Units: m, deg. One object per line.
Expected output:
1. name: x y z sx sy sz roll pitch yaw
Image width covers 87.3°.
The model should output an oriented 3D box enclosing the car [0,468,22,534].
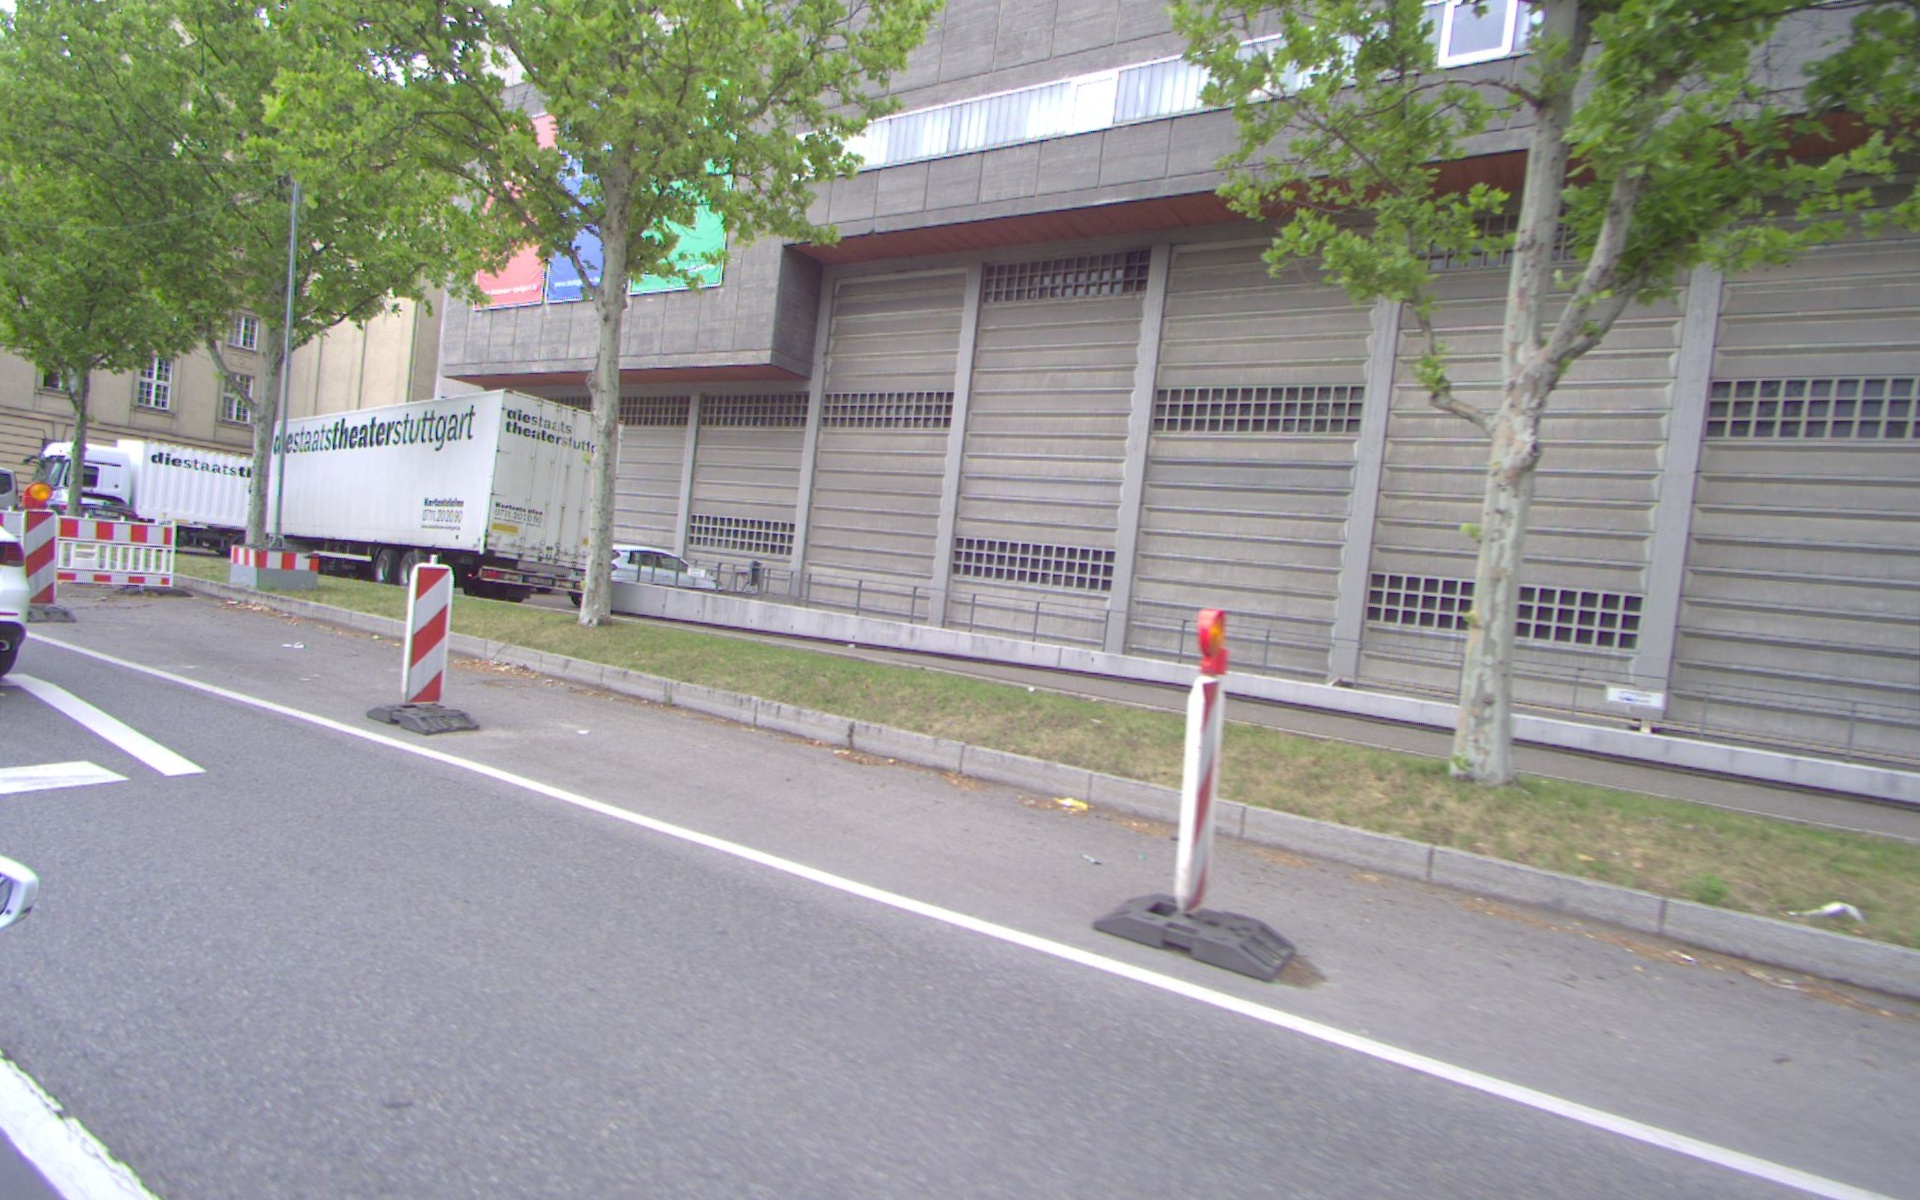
1. car: -25.850 -2.680 25.635 4.260 1.587 1.752 6 0 32

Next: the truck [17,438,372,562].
1. truck: -27.520 -3.437 36.982 2.527 3.089 10.035 6 0 32

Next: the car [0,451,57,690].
1. car: -8.905 -0.450 7.473 4.473 1.665 1.813 7 3 28

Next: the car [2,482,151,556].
1. car: -24.094 -2.228 27.403 4.260 1.587 1.858 6 0 32
